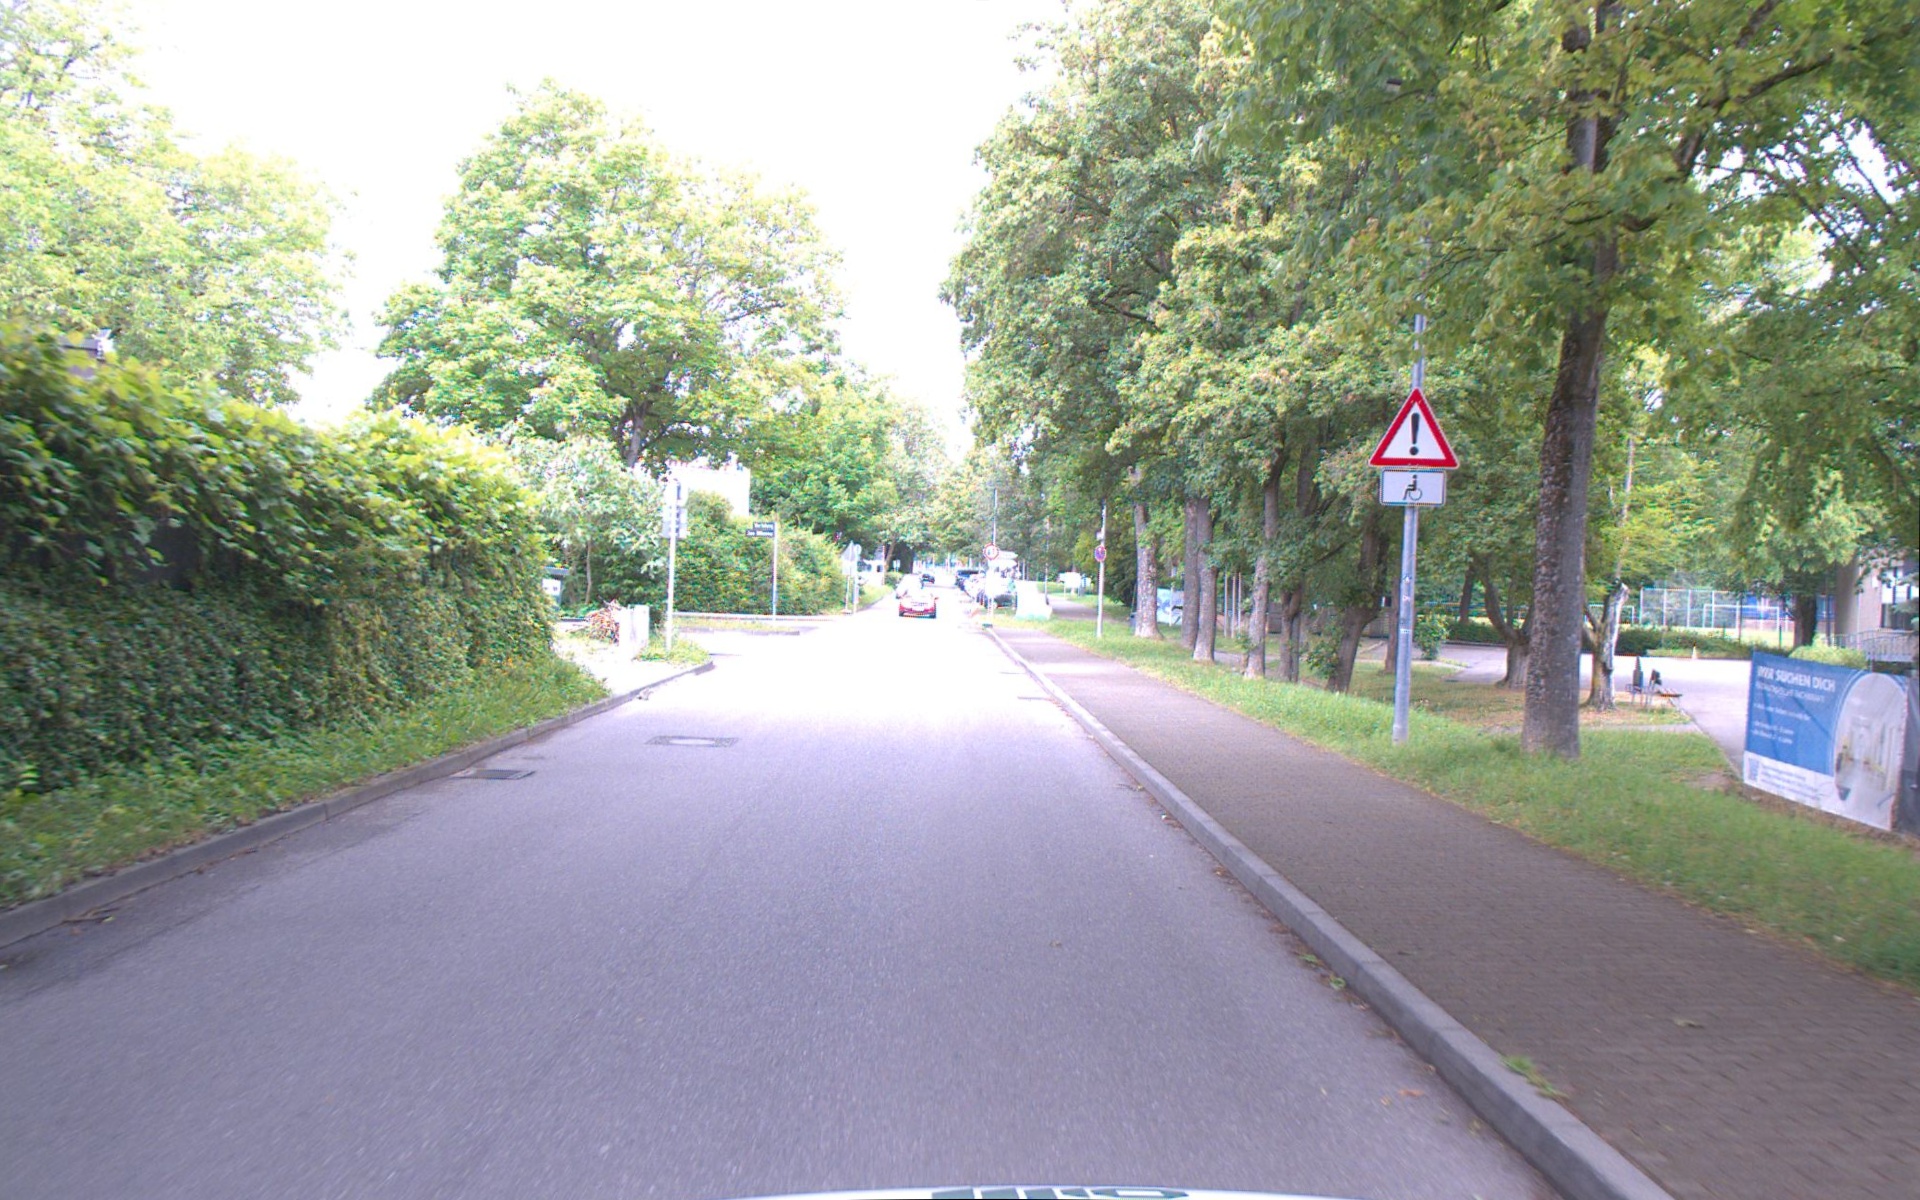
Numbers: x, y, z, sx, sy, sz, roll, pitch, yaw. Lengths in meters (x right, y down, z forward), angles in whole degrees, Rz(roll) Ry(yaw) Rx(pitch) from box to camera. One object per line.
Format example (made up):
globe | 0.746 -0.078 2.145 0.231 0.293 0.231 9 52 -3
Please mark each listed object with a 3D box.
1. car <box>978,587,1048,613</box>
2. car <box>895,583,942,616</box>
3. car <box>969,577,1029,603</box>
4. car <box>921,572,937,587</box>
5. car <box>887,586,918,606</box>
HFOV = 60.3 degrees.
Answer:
car | 3.115 -0.009 97.764 3.981 1.459 1.999 1 -1 -2
car | -1.942 -0.049 76.497 1.717 1.359 4.059 2 1 -8
car | 2.710 -0.721 115.441 3.983 1.717 1.821 -1 1 -4
car | -3.839 -2.572 205.532 1.929 1.778 4.337 2 1 -2
car | -4.071 -0.294 118.017 1.744 1.329 4.298 3 1 4
